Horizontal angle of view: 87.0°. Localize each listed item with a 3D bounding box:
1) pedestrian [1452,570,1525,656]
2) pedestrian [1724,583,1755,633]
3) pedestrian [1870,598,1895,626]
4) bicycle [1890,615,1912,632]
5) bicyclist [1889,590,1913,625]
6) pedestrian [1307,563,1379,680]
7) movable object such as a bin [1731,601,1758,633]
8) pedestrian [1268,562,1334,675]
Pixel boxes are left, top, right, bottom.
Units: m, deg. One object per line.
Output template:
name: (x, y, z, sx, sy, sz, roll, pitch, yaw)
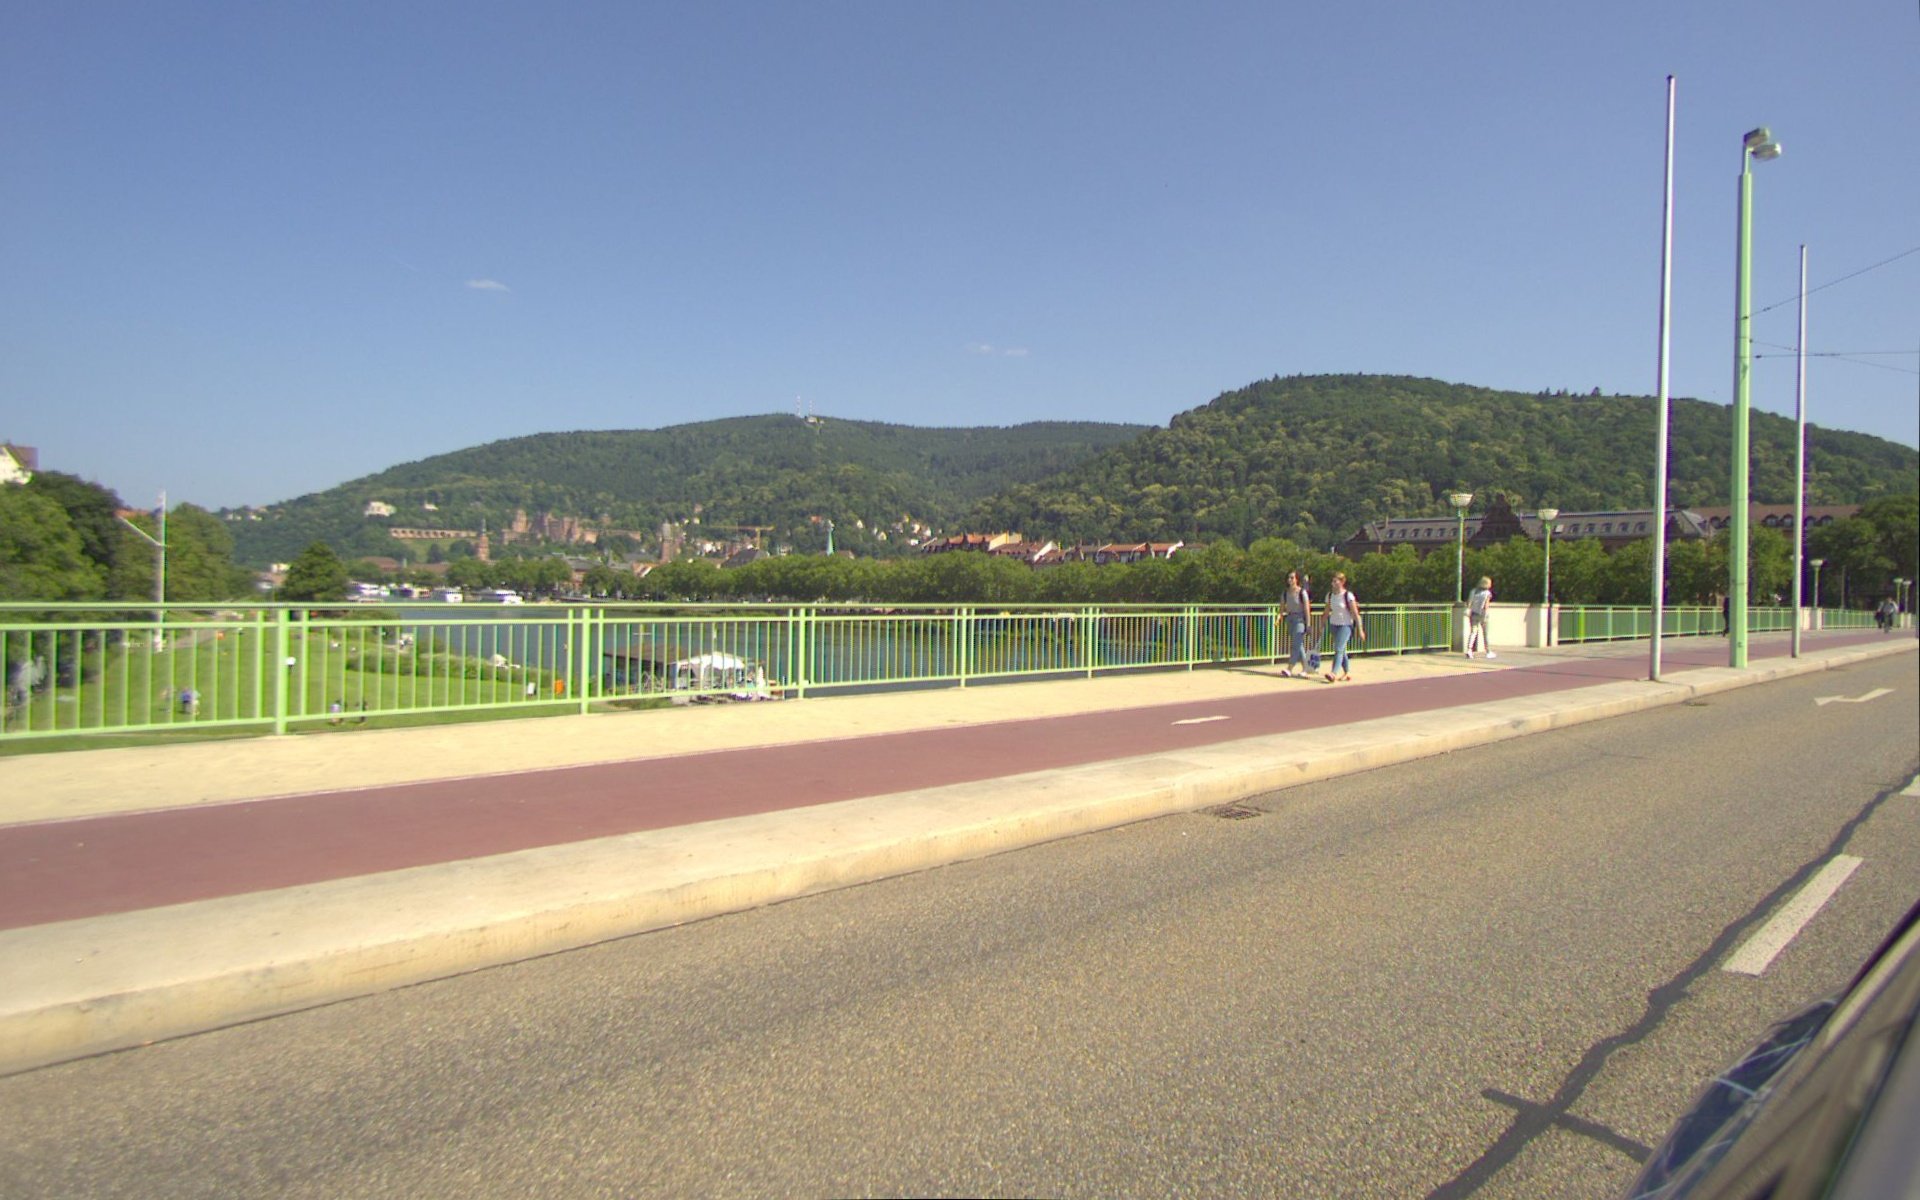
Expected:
pedestrian: (10.845, 0.251, 20.760, 1.063, 1.683, 0.949, 0, 2, -41)
pedestrian: (27.483, 0.266, 35.679, 0.844, 1.727, 0.664, 0, 2, -41)
pedestrian: (57.319, 0.744, 62.884, 1.063, 1.683, 0.949, 1, 2, -41)
bicycle: (45.993, 1.137, 49.464, 1.834, 0.775, 0.595, 0, 2, -41)
bicyclist: (45.821, 0.350, 49.287, 0.829, 1.685, 0.731, 1, 2, -40)
pedestrian: (5.692, 0.296, 15.047, 0.811, 1.679, 0.664, 0, 2, -41)
movable object such as a bin: (28.091, 0.590, 36.225, 0.917, 1.104, 0.583, 0, 1, -42)
pedestrian: (5.267, 0.266, 15.629, 0.733, 1.680, 0.668, 0, 1, -41)
